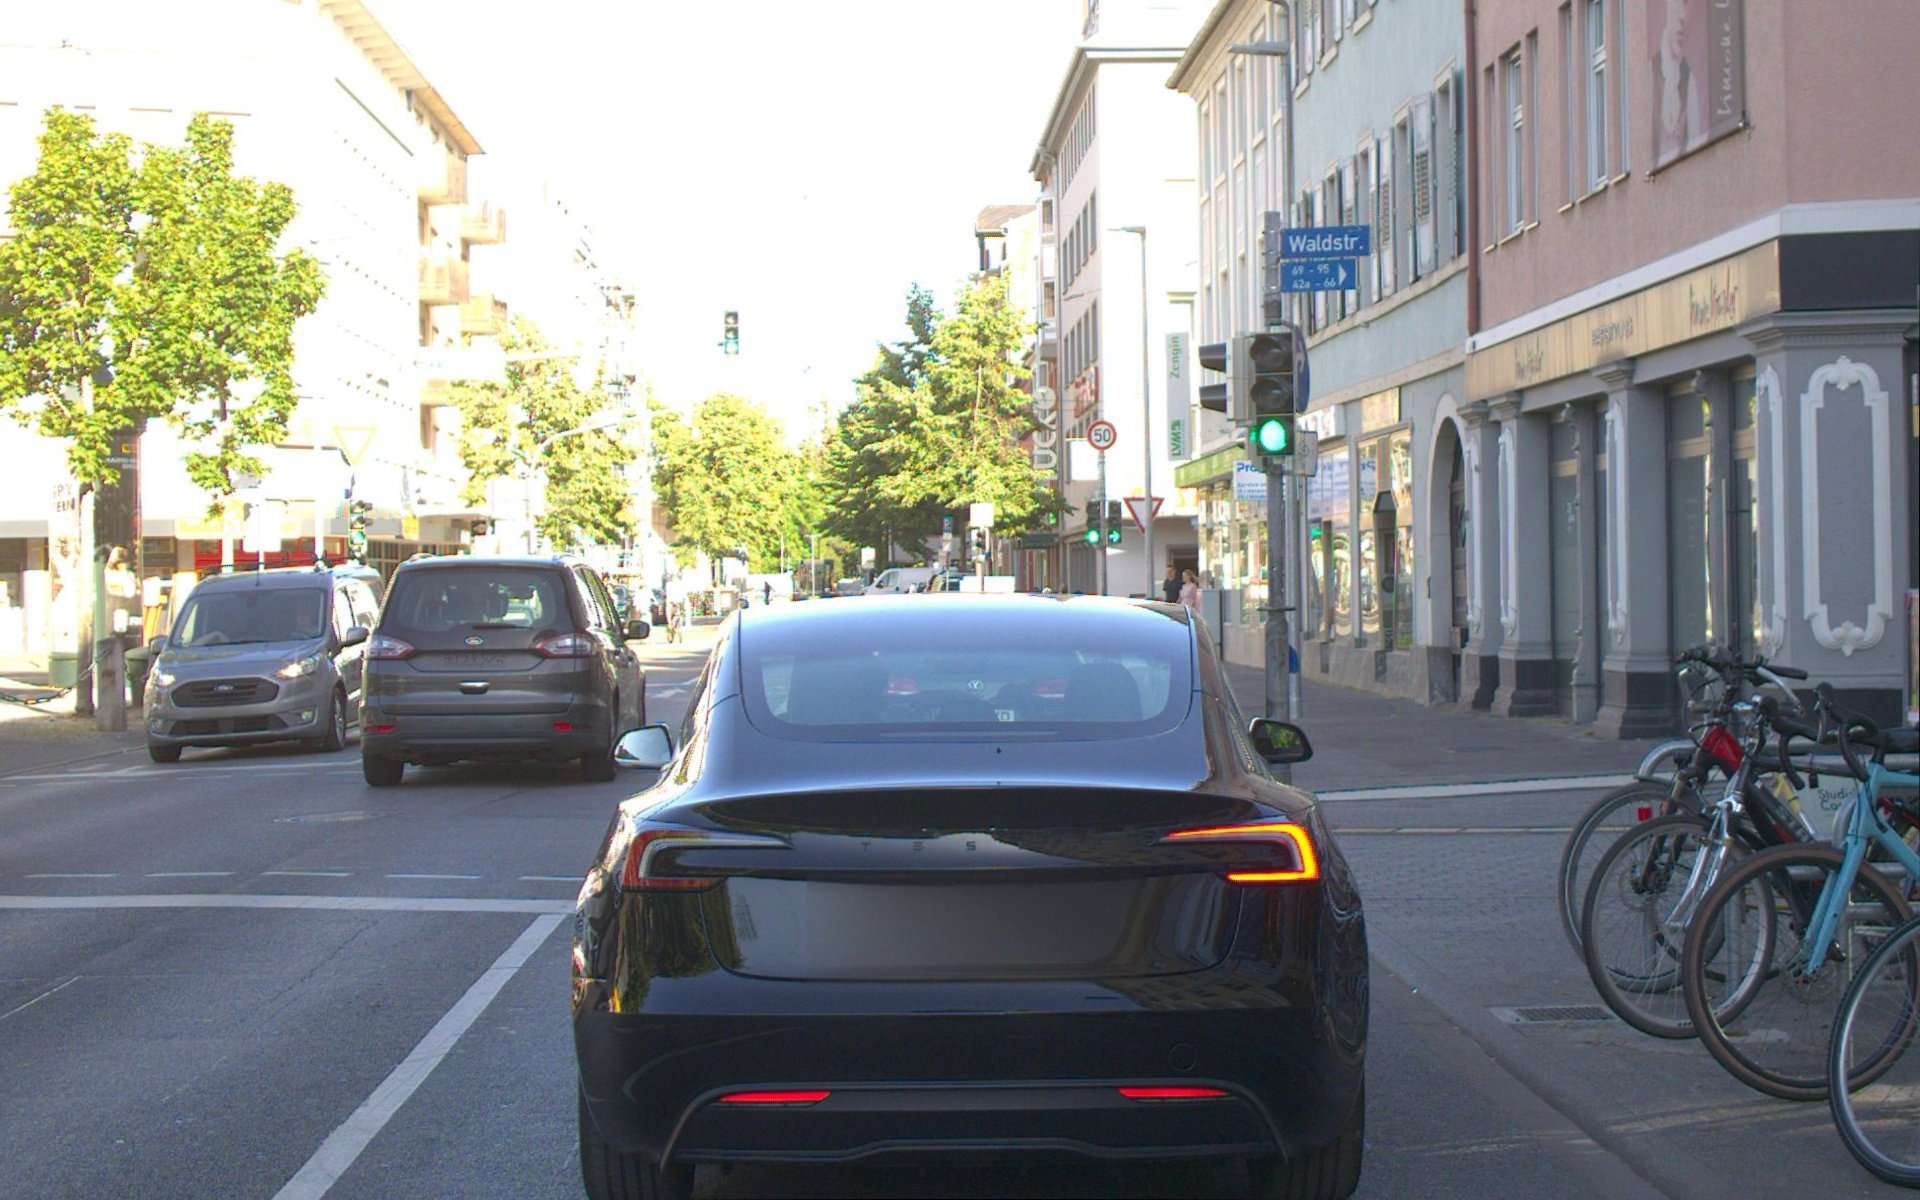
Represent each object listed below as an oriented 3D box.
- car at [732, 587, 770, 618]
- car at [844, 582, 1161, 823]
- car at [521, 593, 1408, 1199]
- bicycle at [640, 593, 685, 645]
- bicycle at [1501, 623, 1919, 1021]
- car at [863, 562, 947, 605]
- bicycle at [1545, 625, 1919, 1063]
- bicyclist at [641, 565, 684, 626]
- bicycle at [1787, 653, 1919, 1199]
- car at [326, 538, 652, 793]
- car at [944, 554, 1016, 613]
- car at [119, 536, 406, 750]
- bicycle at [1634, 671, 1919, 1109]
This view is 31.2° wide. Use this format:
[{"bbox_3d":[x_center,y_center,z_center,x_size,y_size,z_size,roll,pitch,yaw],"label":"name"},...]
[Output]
[{"bbox_3d":[-11.179,0.134,184.049,1.993,1.631,4.000,0,0,-3],"label":"car"},{"bbox_3d":[0.200,0.635,23.806,1.993,1.507,4.175,0,0,-2],"label":"car"},{"bbox_3d":[-0.015,0.713,9.182,1.848,1.450,4.000,0,0,-1],"label":"car"},{"bbox_3d":[-7.998,0.491,92.506,1.111,1.340,4.001,0,1,-3],"label":"bicycle"},{"bbox_3d":[2.824,0.727,11.669,1.862,1.253,0.832,-2,0,5],"label":"bicycle"},{"bbox_3d":[-2.628,-0.794,164.548,3.986,2.007,2.000,0,1,-2],"label":"car"},{"bbox_3d":[2.756,0.724,10.638,1.746,1.262,0.781,-2,0,3],"label":"bicycle"},{"bbox_3d":[-8.016,-0.124,92.595,1.126,1.623,0.965,0,0,-3],"label":"bicyclist"},{"bbox_3d":[2.905,0.750,8.108,1.722,1.264,0.790,-2,0,5],"label":"bicycle"},{"bbox_3d":[-3.532,0.438,26.607,1.993,1.766,4.729,-1,1,-2],"label":"car"},{"bbox_3d":[0.542,-0.466,97.785,1.993,1.623,4.000,0,0,-1],"label":"car"},{"bbox_3d":[-6.756,0.365,33.805,1.834,1.838,4.674,-4,1,-1],"label":"car"},{"bbox_3d":[2.823,0.763,9.459,1.798,1.120,0.781,-2,0,5],"label":"bicycle"}]
